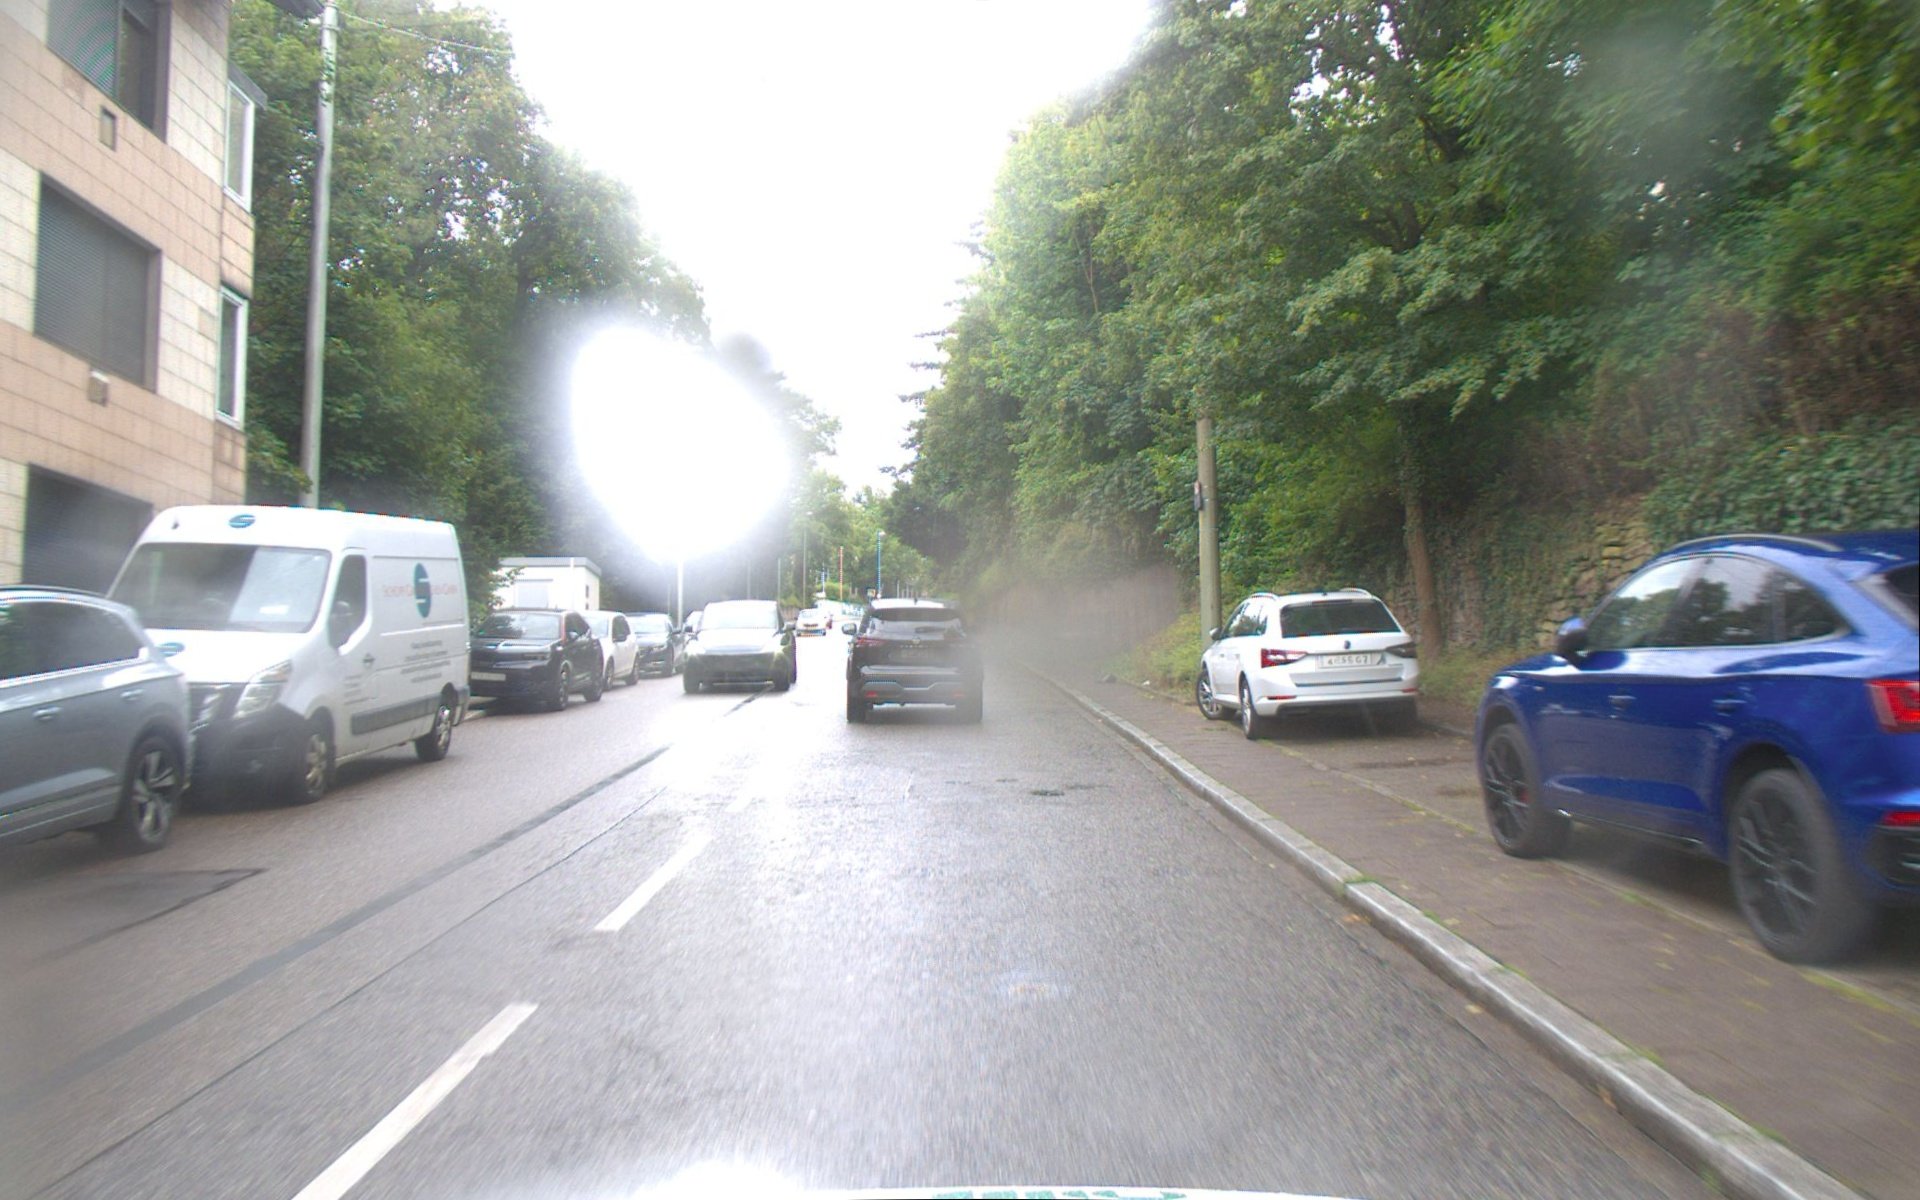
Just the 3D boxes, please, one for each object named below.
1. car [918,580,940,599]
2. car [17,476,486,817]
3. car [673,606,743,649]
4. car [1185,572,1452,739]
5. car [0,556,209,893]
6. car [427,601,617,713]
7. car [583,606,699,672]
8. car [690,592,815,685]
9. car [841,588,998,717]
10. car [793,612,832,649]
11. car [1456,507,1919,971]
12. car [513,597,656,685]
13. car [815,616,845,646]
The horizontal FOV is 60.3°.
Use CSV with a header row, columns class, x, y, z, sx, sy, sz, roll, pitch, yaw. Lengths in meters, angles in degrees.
class,x,y,z,sx,sy,sz,roll,pitch,yaw
car,-2.987,-0.997,160.429,1.952,1.587,4.000,-2,-2,1
car,-6.130,0.326,15.281,1.950,2.518,5.782,-1,0,-2
car,-9.013,0.961,59.427,1.950,1.408,4.456,-1,0,-2
car,3.835,0.553,18.517,1.775,1.556,4.414,-3,0,-3
car,-6.086,0.674,9.090,1.950,1.786,4.478,-1,0,-2
car,-6.896,0.835,26.515,1.950,1.594,4.456,-1,0,-2
car,-7.457,0.872,39.068,1.950,1.408,4.456,-1,0,-2
car,-3.796,0.669,30.881,1.953,1.587,3.998,1,1,-2
car,-0.522,0.650,22.767,1.953,1.587,4.000,1,1,-1
car,-8.246,1.709,92.449,1.953,1.982,3.997,1,-2,-3
car,3.979,0.436,7.689,1.775,1.556,4.414,-3,0,-3
car,-7.456,0.763,33.254,1.950,1.594,4.456,-1,0,-2
car,-9.213,2.217,117.407,1.953,1.982,3.997,1,-2,-3
